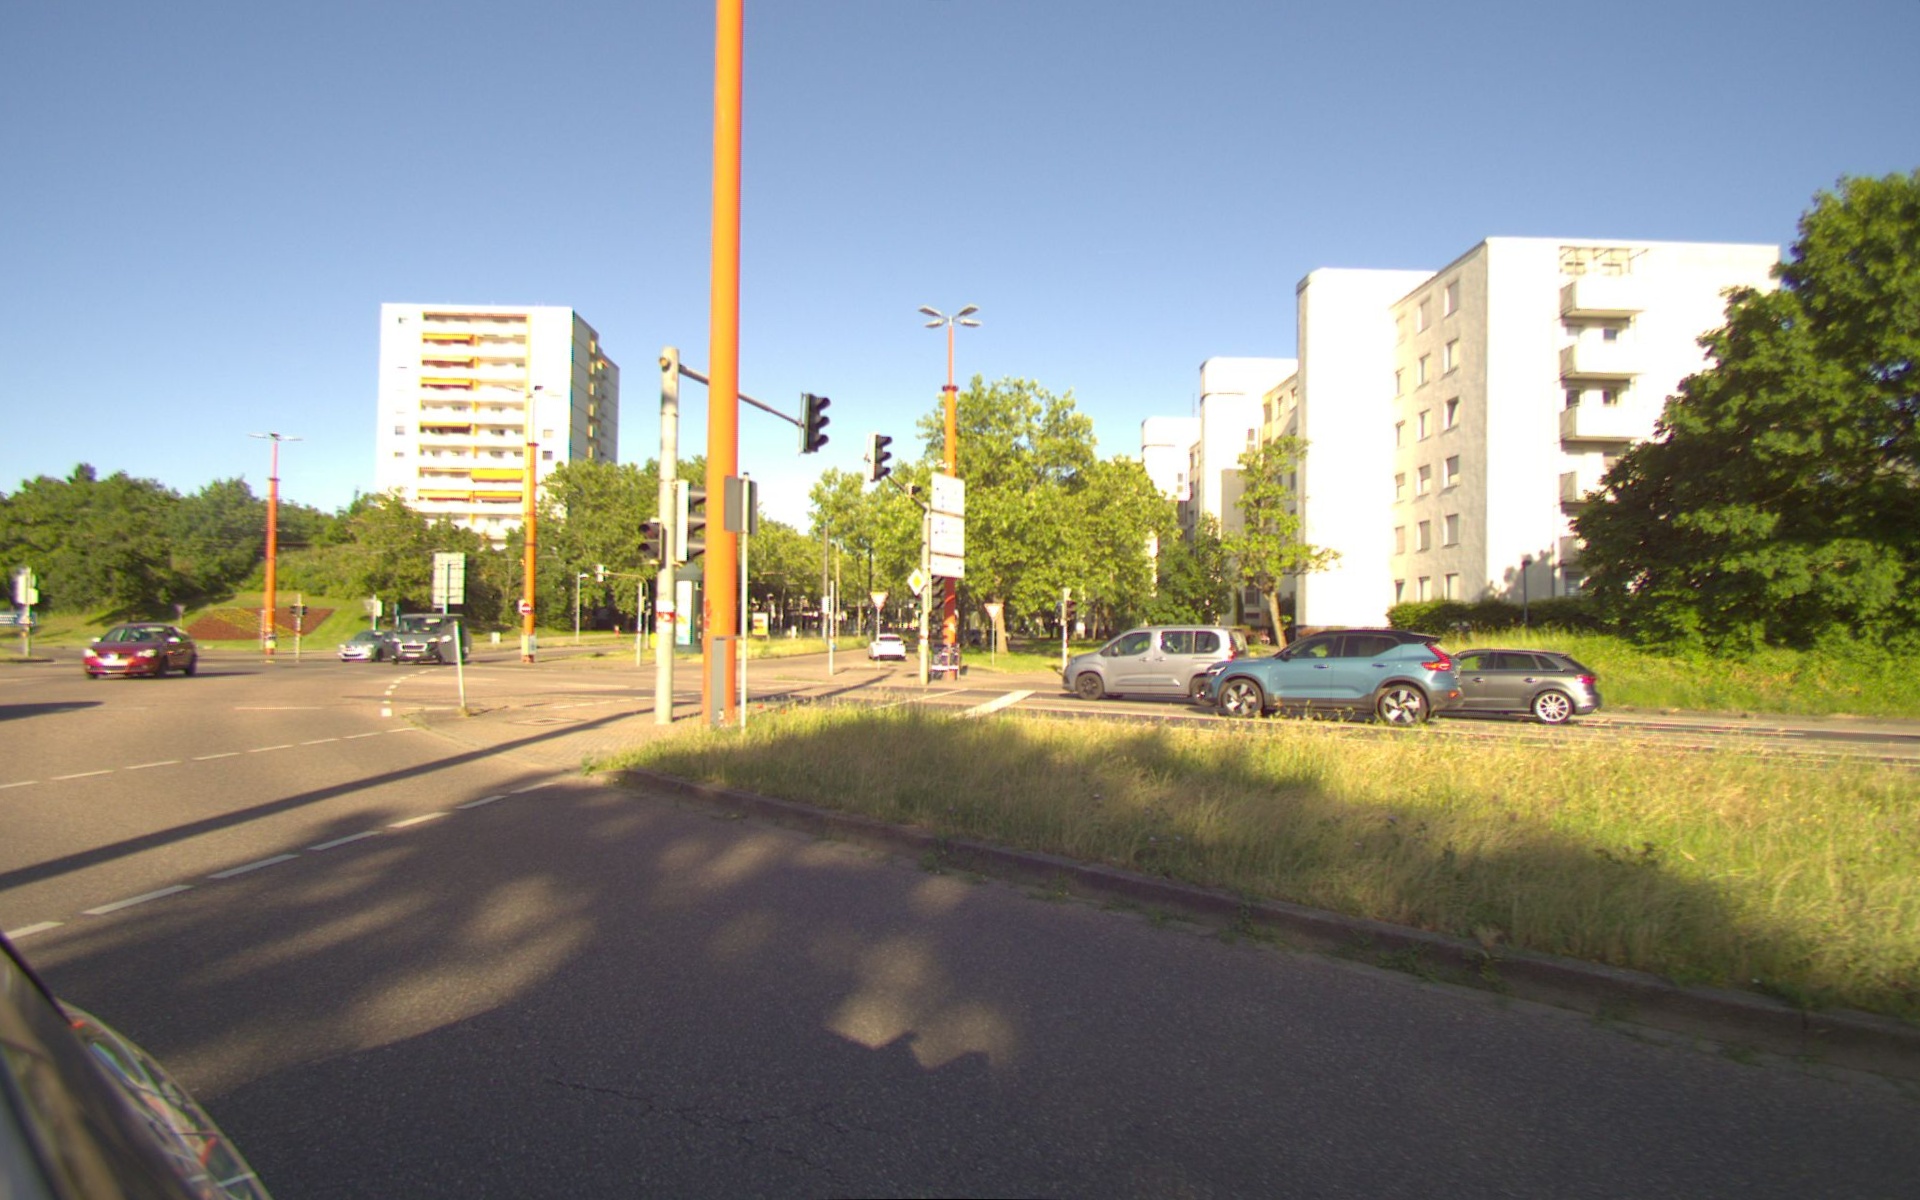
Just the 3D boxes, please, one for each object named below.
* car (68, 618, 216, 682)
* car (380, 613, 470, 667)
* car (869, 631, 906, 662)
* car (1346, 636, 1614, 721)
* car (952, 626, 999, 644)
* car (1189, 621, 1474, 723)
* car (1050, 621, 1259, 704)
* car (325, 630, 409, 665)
[{"bbox_3d":[-22.091,1.316,27.560,1.742,1.570,4.741,1,-2,-21],"label":"car"},{"bbox_3d":[-23.403,1.724,44.534,2.008,2.221,5.674,0,-1,-12],"label":"car"},{"bbox_3d":[-3.998,2.529,55.961,1.876,1.562,4.263,3,-2,-4],"label":"car"},{"bbox_3d":[10.247,1.507,20.156,4.549,1.486,1.884,-1,-4,31],"label":"car"},{"bbox_3d":[1.376,3.121,90.684,3.984,1.498,1.818,1,-3,-38],"label":"car"},{"bbox_3d":[6.633,1.229,18.205,4.549,1.623,1.884,-1,-4,31],"label":"car"},{"bbox_3d":[4.525,1.415,23.686,4.430,1.789,1.884,-1,-4,31],"label":"car"},{"bbox_3d":[-28.204,2.243,48.307,1.884,1.570,4.736,0,-2,-10],"label":"car"}]
